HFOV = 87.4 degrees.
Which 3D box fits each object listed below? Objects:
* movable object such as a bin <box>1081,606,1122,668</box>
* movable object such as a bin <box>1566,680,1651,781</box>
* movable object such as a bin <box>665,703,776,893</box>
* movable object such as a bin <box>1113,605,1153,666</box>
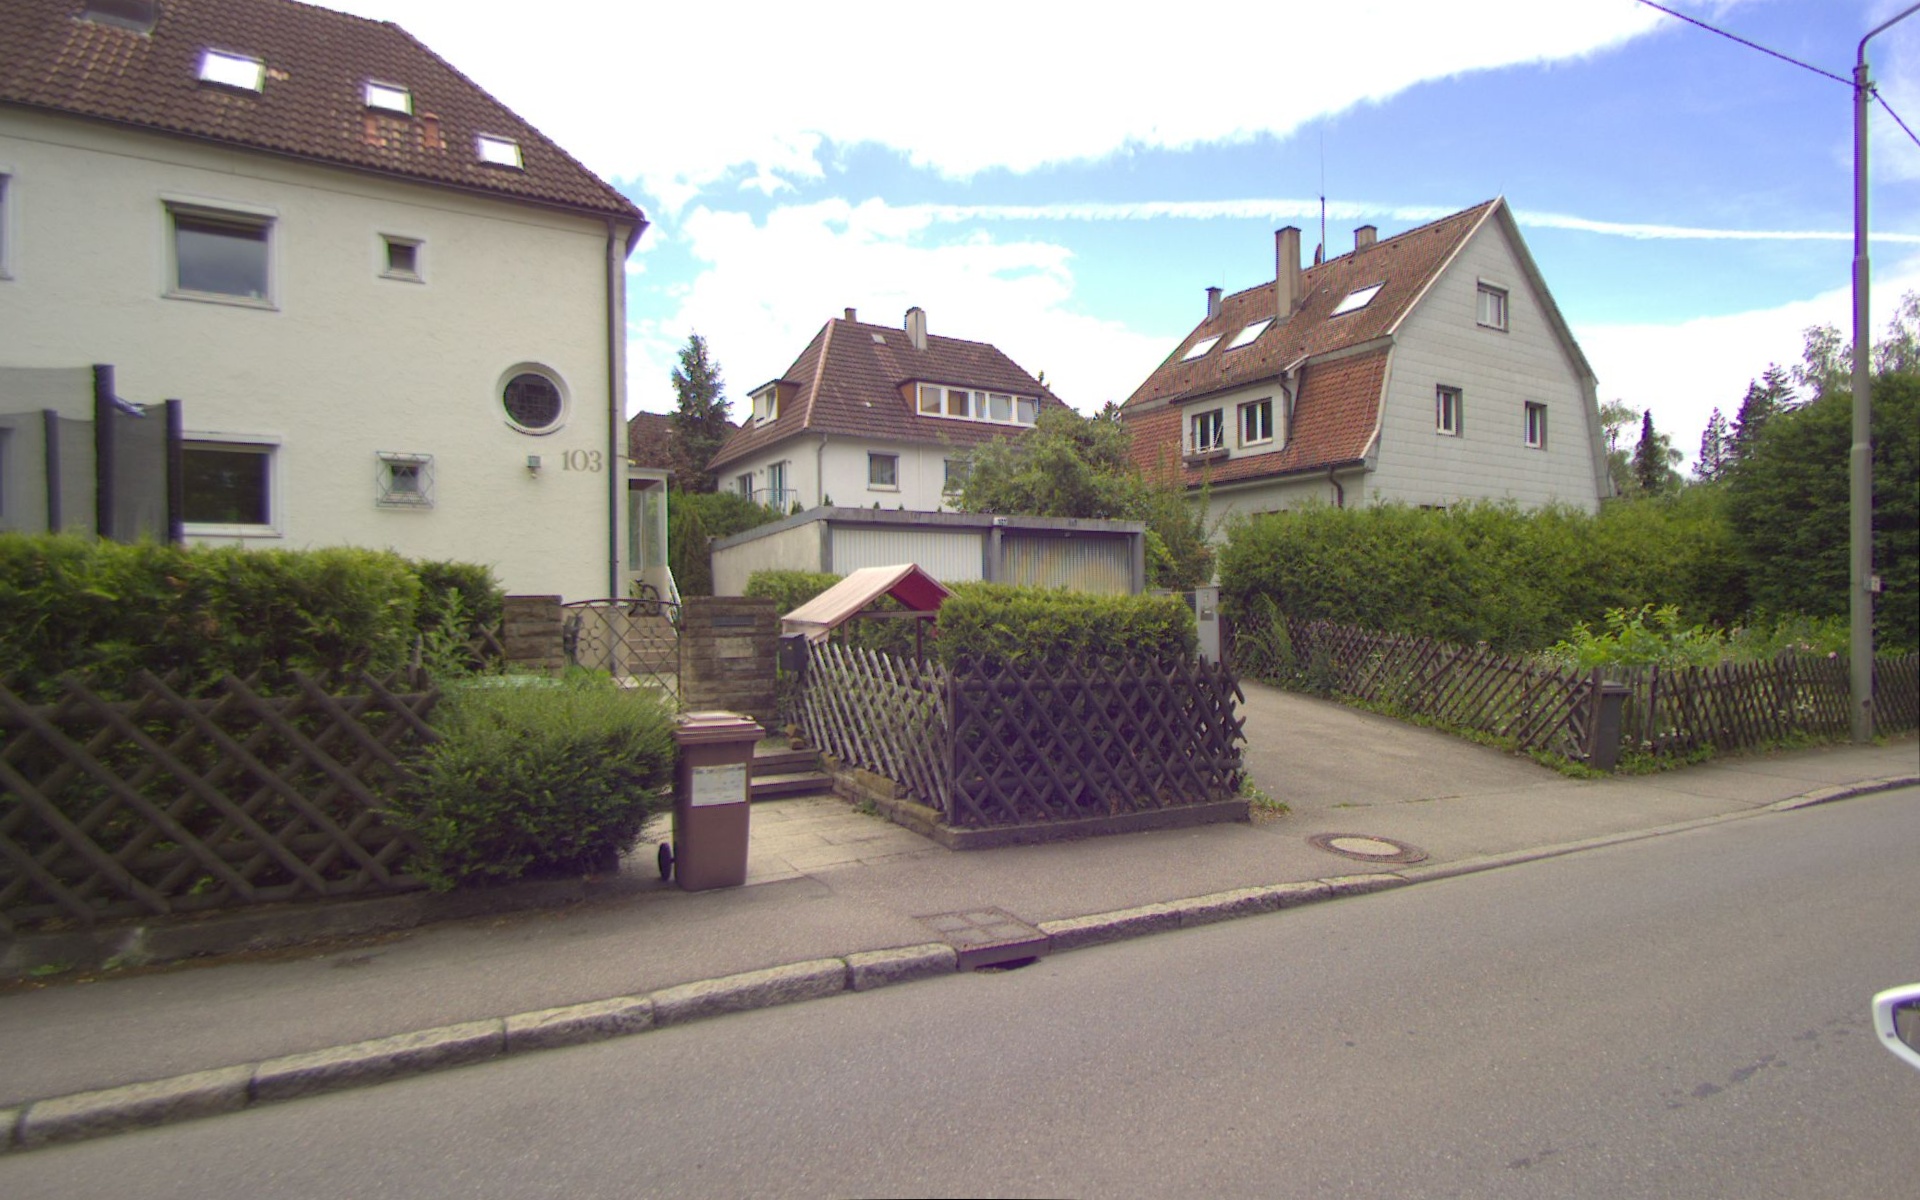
[{"bbox_3d":[2.418,0.620,17.165,0.494,1.027,0.490,-1,1,-27],"label":"movable object such as a bin"},{"bbox_3d":[6.630,1.317,10.272,0.531,0.950,0.548,1,-1,-28],"label":"movable object such as a bin"},{"bbox_3d":[-1.341,1.061,5.573,0.551,0.925,0.633,1,-1,-17],"label":"movable object such as a bin"},{"bbox_3d":[3.028,0.608,17.577,0.494,1.027,0.490,-1,1,-27],"label":"movable object such as a bin"}]
